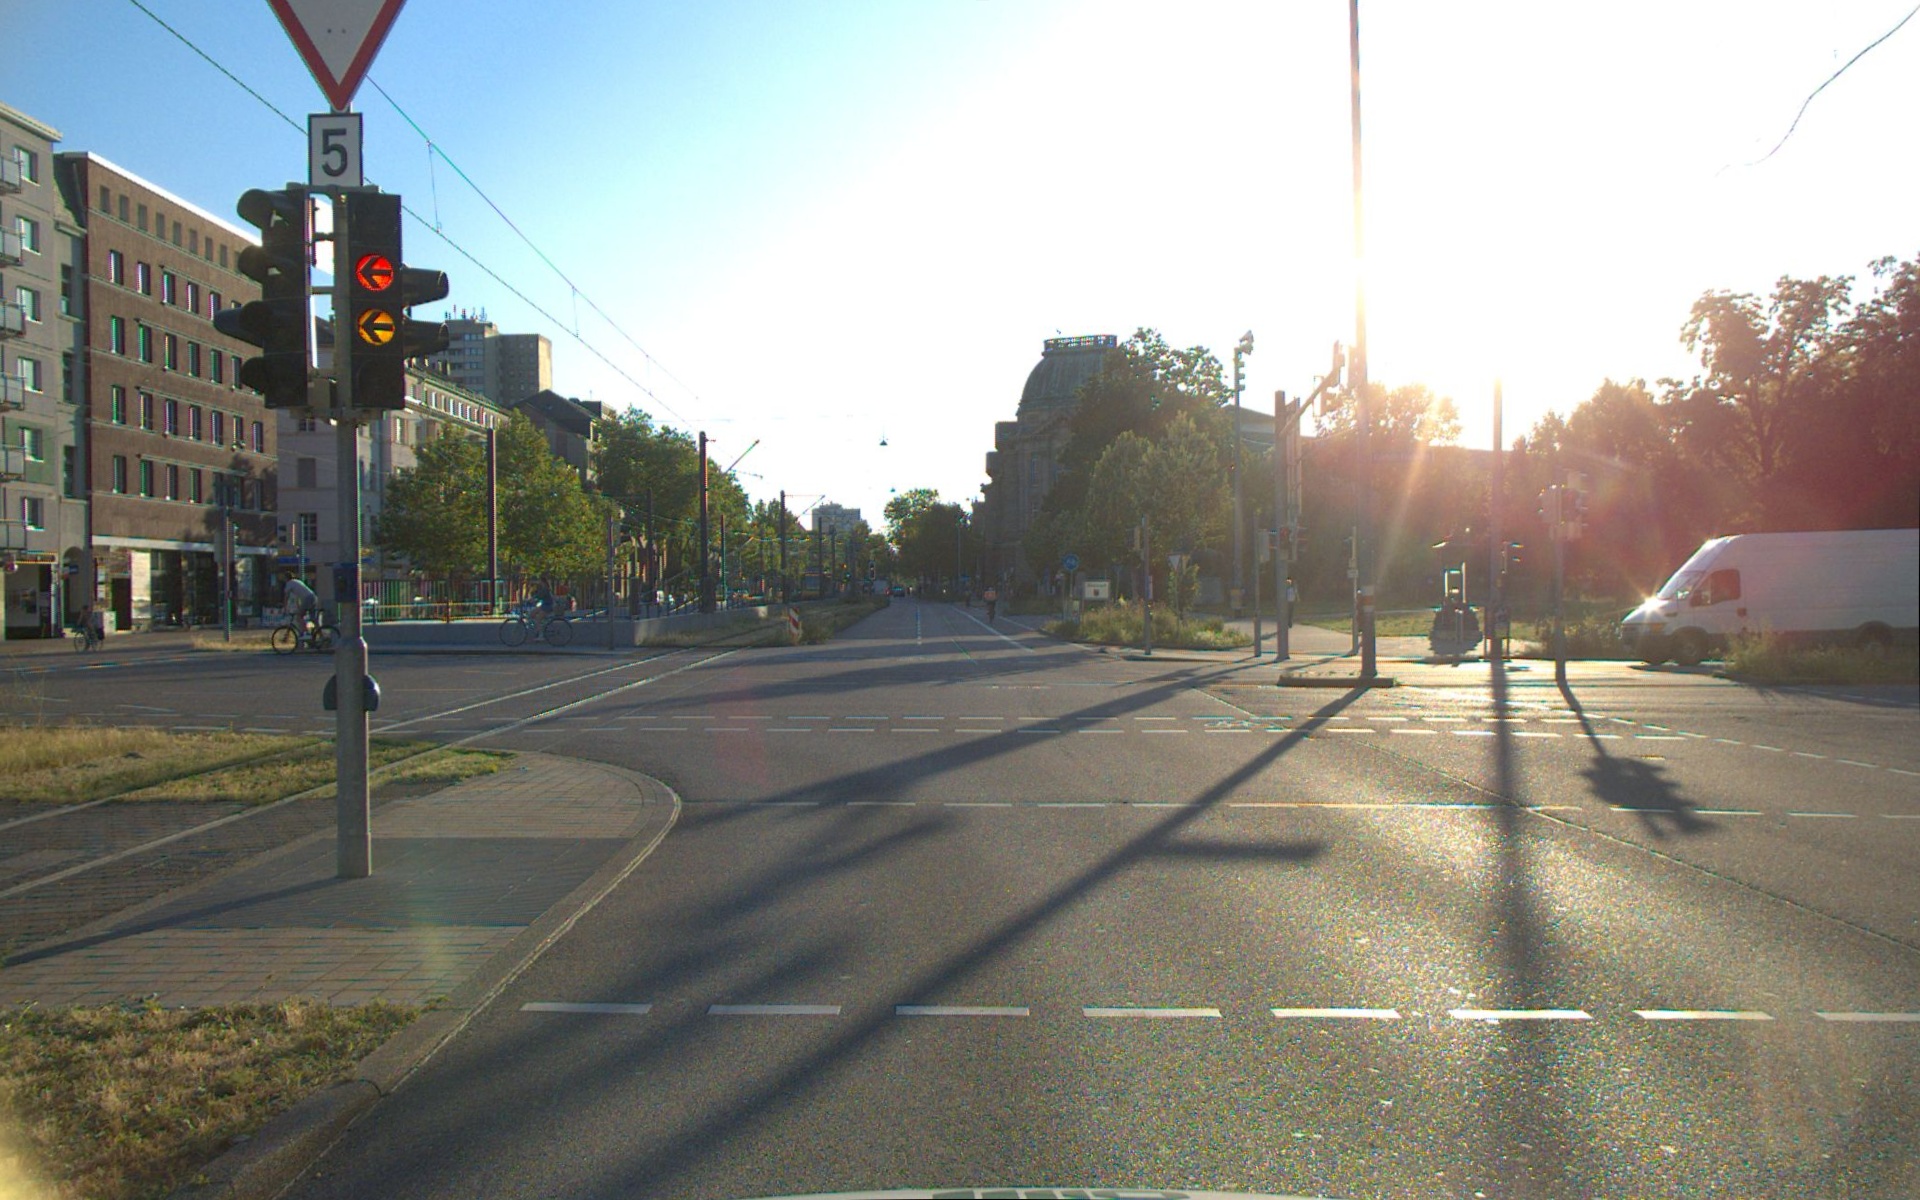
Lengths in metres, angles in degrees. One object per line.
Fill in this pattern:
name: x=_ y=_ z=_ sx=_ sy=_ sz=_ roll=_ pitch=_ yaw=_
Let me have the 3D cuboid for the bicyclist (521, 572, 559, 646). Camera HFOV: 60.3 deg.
bicyclist: x=-10.699 y=0.230 z=42.143 sx=0.860 sy=1.850 sz=0.537 roll=0 pitch=0 yaw=-10

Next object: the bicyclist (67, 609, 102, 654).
bicyclist: x=-28.671 y=1.040 z=54.169 sx=0.489 sy=1.451 sz=0.857 roll=-1 pitch=0 yaw=25

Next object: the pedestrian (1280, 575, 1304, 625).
pedestrian: x=12.246 y=-0.010 z=60.965 sx=0.815 sy=1.835 sz=0.811 roll=-1 pitch=0 yaw=14

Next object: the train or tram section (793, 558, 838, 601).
train or tram section: x=-14.567 y=-2.133 z=166.651 sx=4.301 sy=3.916 sz=11.401 roll=-1 pitch=2 yaw=-5

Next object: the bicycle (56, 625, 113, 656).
bicycle: x=-28.669 y=1.324 z=54.180 sx=0.498 sy=0.961 sz=1.667 roll=-1 pitch=0 yaw=25

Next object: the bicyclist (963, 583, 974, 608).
bicyclist: x=0.698 y=-0.388 z=140.533 sx=0.907 sy=2.049 sz=0.850 roll=0 pitch=0 yaw=-1

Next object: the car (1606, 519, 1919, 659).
car: x=17.814 y=-0.251 z=35.752 sx=6.866 sy=2.877 sz=2.093 roll=-1 pitch=0 yaw=1

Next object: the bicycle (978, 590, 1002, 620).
bicycle: x=1.449 y=0.230 z=81.528 sx=1.075 sy=1.423 sz=2.831 roll=-1 pitch=0 yaw=-1

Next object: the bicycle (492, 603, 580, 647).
bicycle: x=-10.793 y=0.629 z=42.142 sx=2.124 sy=1.102 sz=0.537 roll=0 pitch=-1 yaw=-10

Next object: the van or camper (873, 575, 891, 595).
van or camper: x=-11.132 y=-2.122 z=236.441 sx=2.400 sy=2.819 sz=5.598 roll=-1 pitch=0 yaw=-3

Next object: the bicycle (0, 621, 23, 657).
bicycle: x=-32.901 y=1.341 z=56.227 sx=1.655 sy=1.199 sz=0.748 roll=-1 pitch=0 yaw=1

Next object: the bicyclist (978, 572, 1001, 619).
bicyclist: x=1.448 y=-0.230 z=81.475 sx=1.060 sy=2.316 sz=0.986 roll=0 pitch=0 yaw=-1

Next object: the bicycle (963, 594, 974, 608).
bicycle: x=0.722 y=0.083 z=140.560 sx=0.905 sy=1.131 sz=2.332 roll=-1 pitch=0 yaw=-1

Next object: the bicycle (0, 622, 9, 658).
bicycle: x=-32.917 y=1.353 z=55.468 sx=1.655 sy=1.173 sz=0.705 roll=-1 pitch=0 yaw=1

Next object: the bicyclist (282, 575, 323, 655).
bicyclist: x=-15.580 y=0.350 z=39.197 sx=0.779 sy=1.850 sz=0.644 roll=-1 pitch=0 yaw=-14

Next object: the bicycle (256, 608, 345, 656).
bicycle: x=-15.614 y=0.745 z=39.215 sx=1.869 sy=1.094 sz=0.630 roll=-1 pitch=0 yaw=-15

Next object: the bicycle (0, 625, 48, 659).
bicycle: x=-32.848 y=1.474 z=57.738 sx=1.655 sy=1.164 sz=0.697 roll=-1 pitch=0 yaw=1

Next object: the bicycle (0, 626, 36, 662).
bicycle: x=-32.877 y=1.521 z=57.002 sx=1.655 sy=1.190 sz=0.748 roll=-1 pitch=0 yaw=1
